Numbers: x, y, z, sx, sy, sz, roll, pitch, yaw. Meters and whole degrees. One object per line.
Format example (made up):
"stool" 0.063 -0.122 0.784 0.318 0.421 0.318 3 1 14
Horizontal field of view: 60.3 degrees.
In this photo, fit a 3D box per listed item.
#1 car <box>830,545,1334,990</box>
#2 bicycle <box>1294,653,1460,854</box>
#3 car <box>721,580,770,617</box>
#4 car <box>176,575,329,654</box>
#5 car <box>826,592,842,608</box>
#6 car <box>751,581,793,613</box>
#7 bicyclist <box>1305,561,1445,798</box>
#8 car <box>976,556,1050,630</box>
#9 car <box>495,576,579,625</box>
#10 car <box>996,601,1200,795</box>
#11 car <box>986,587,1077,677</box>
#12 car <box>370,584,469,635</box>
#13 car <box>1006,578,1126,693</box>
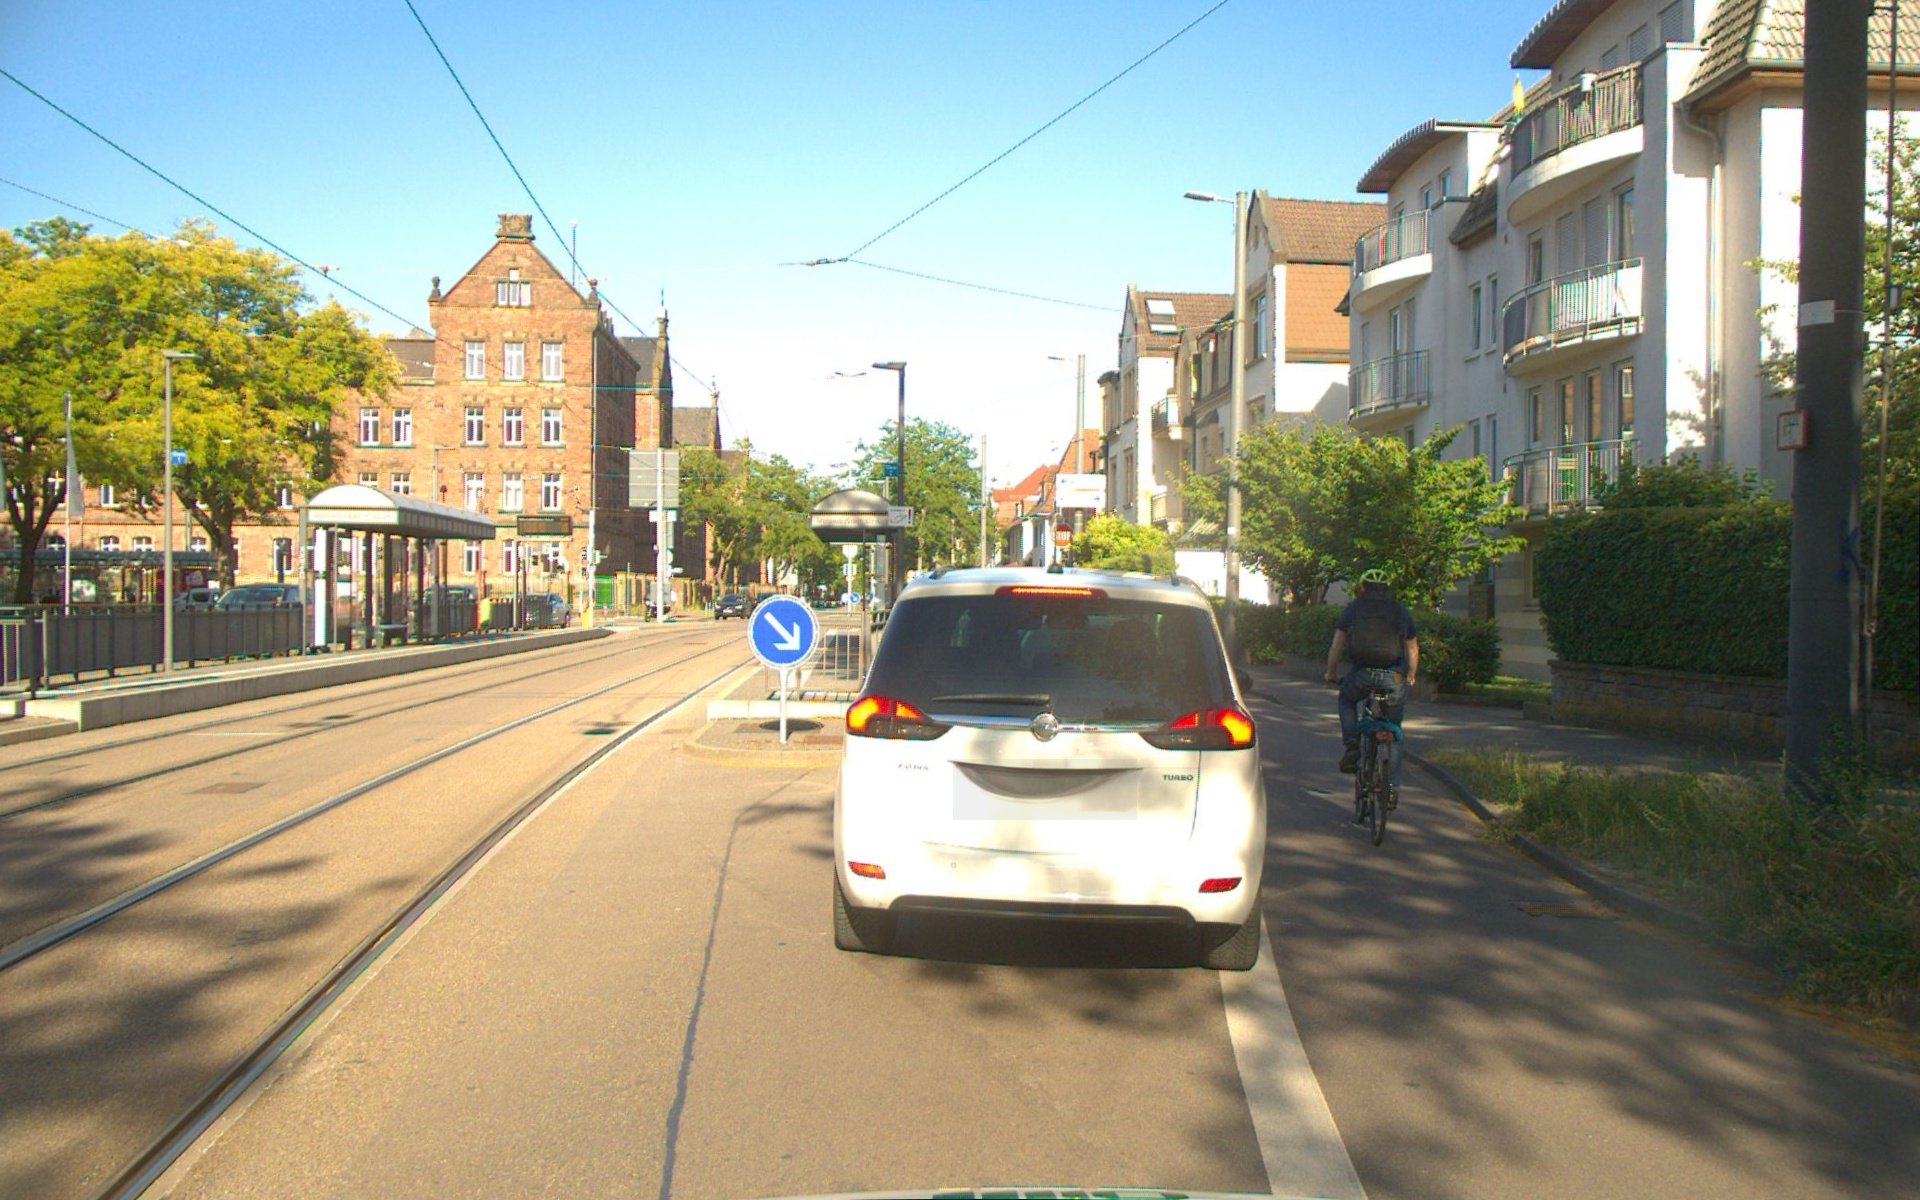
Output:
"car" 0.424 0.627 8.092 1.840 1.613 3.999 1 0 -1
"bicycle" 2.770 0.979 11.176 0.629 1.163 1.901 0 0 -1
"car" -12.326 -0.077 95.215 1.951 2.049 4.002 1 0 6
"car" -15.759 0.329 37.092 1.791 1.645 4.323 1 -1 -4
"car" -16.581 0.052 218.266 1.955 2.049 3.994 1 0 -6
"car" -12.505 -0.181 110.398 1.951 2.049 4.002 1 0 6
"bicyclist" 2.780 0.514 11.174 0.631 1.514 1.114 1 0 -1
"car" 1.242 -0.174 40.253 1.563 1.663 3.900 2 0 -1
"car" -16.399 0.058 64.359 1.788 1.819 4.330 1 -1 5
"car" 1.226 0.761 14.778 1.536 1.426 3.786 2 0 5
"car" 1.412 0.613 33.869 1.563 1.663 3.900 2 0 -1
"car" -16.497 0.301 50.701 1.790 1.471 4.324 1 -1 -3
"car" 1.613 0.506 26.136 1.537 1.643 3.783 2 0 -1
